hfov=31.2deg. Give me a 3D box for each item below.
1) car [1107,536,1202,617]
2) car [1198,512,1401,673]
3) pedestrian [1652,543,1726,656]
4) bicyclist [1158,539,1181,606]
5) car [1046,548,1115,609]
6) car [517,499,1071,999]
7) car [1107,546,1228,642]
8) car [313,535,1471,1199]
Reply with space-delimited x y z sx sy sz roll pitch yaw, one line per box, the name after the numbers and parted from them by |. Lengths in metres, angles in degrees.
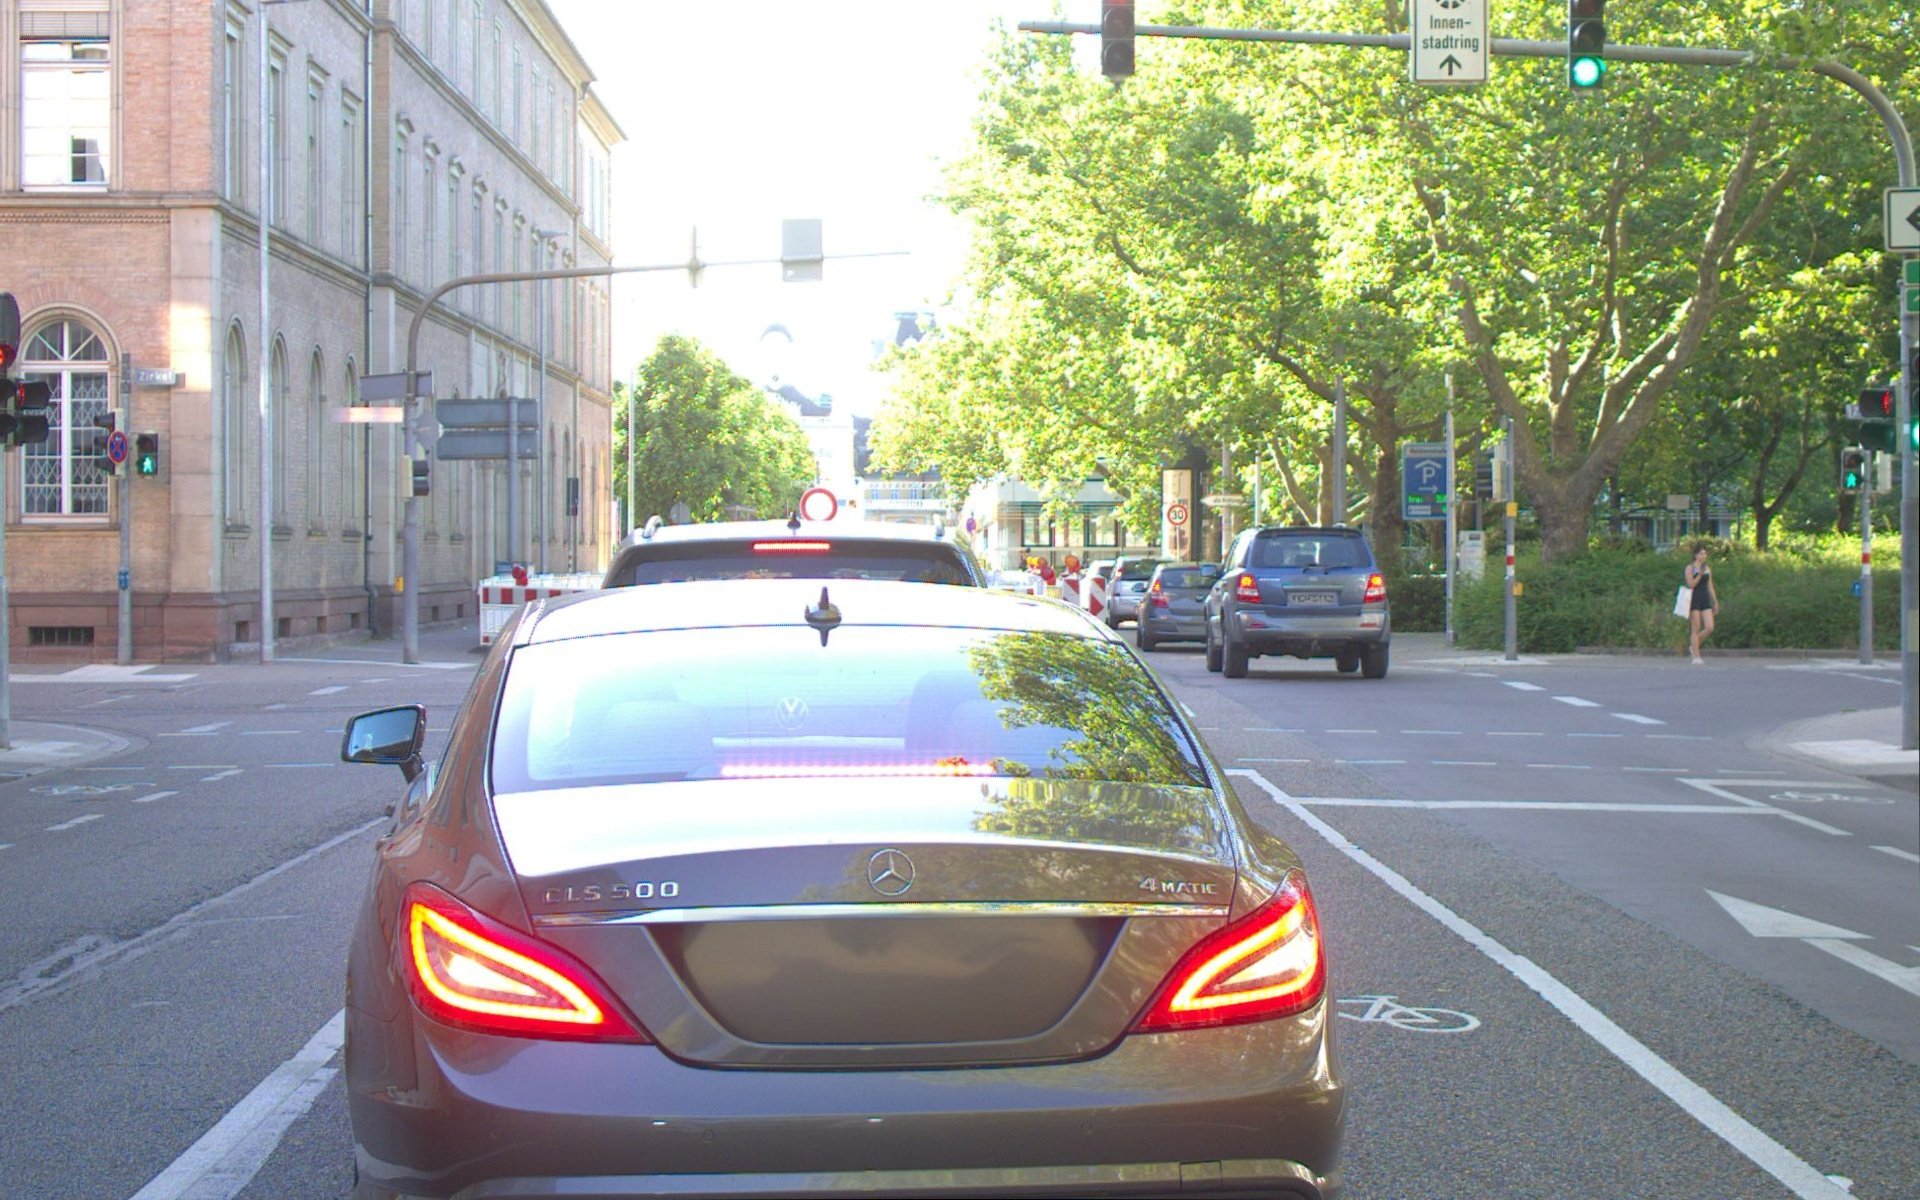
4.107 -0.502 73.017 1.731 1.656 3.681 1 1 -1 | car
3.891 -0.115 40.122 1.861 1.758 4.482 1 1 -1 | car
10.082 -0.016 47.582 0.635 1.540 0.910 1 0 -15 | pedestrian
6.392 -0.847 105.094 0.594 2.032 0.566 1 0 -4 | bicyclist
3.127 -0.576 89.890 1.601 1.543 3.681 1 1 -1 | car
-0.585 0.471 13.631 1.861 1.677 4.000 1 1 -1 | car
3.395 -0.122 56.849 1.704 1.514 4.000 1 1 -1 | car
-0.365 0.625 7.501 1.861 1.514 4.001 0 1 -8 | car
